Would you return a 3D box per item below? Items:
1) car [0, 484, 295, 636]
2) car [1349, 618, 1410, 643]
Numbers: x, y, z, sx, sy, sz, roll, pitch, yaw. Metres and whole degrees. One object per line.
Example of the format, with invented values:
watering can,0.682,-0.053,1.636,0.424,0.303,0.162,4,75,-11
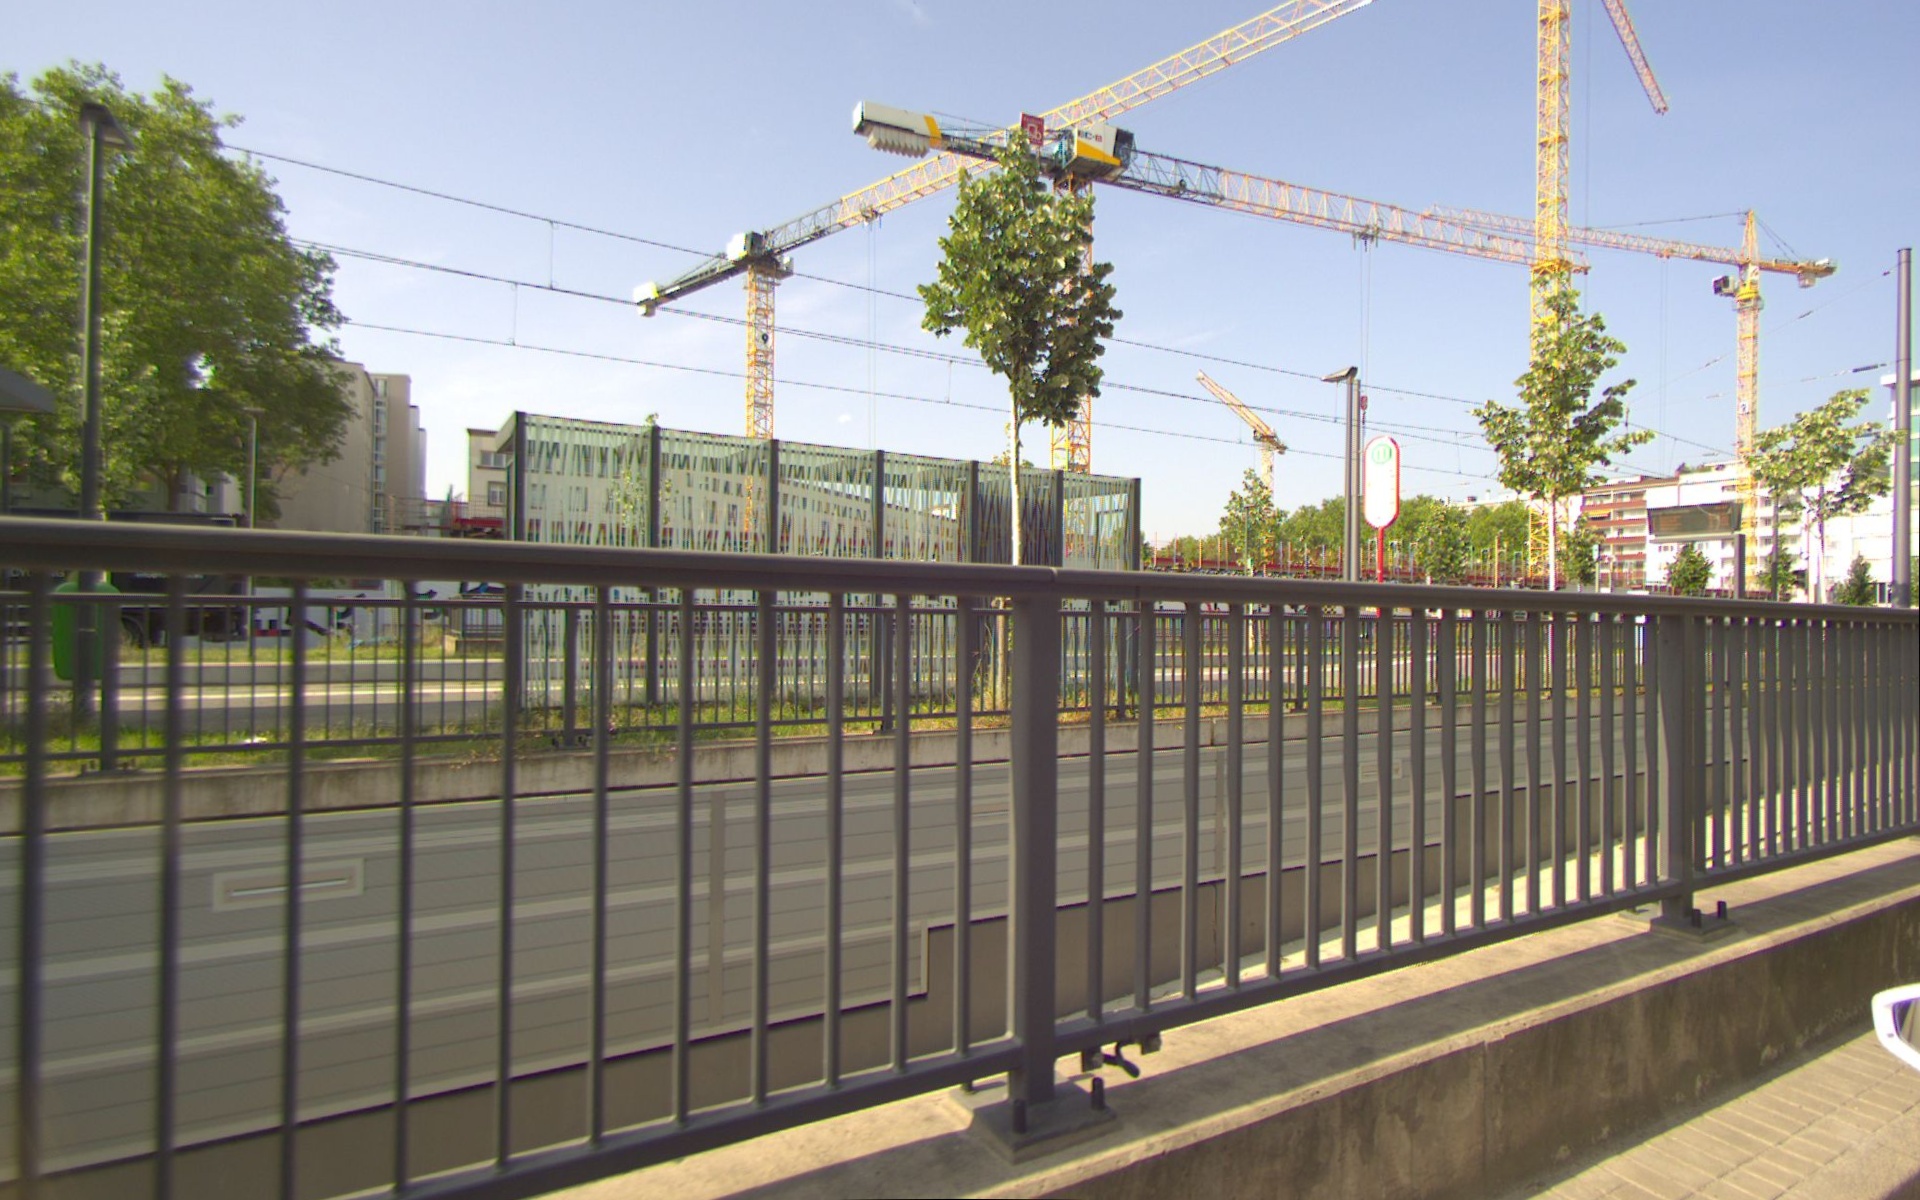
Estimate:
car,-22.454,-0.933,25.440,9.127,3.559,3.039,1,0,-31
car,21.736,1.573,52.037,2.926,1.218,1.493,1,0,-31
